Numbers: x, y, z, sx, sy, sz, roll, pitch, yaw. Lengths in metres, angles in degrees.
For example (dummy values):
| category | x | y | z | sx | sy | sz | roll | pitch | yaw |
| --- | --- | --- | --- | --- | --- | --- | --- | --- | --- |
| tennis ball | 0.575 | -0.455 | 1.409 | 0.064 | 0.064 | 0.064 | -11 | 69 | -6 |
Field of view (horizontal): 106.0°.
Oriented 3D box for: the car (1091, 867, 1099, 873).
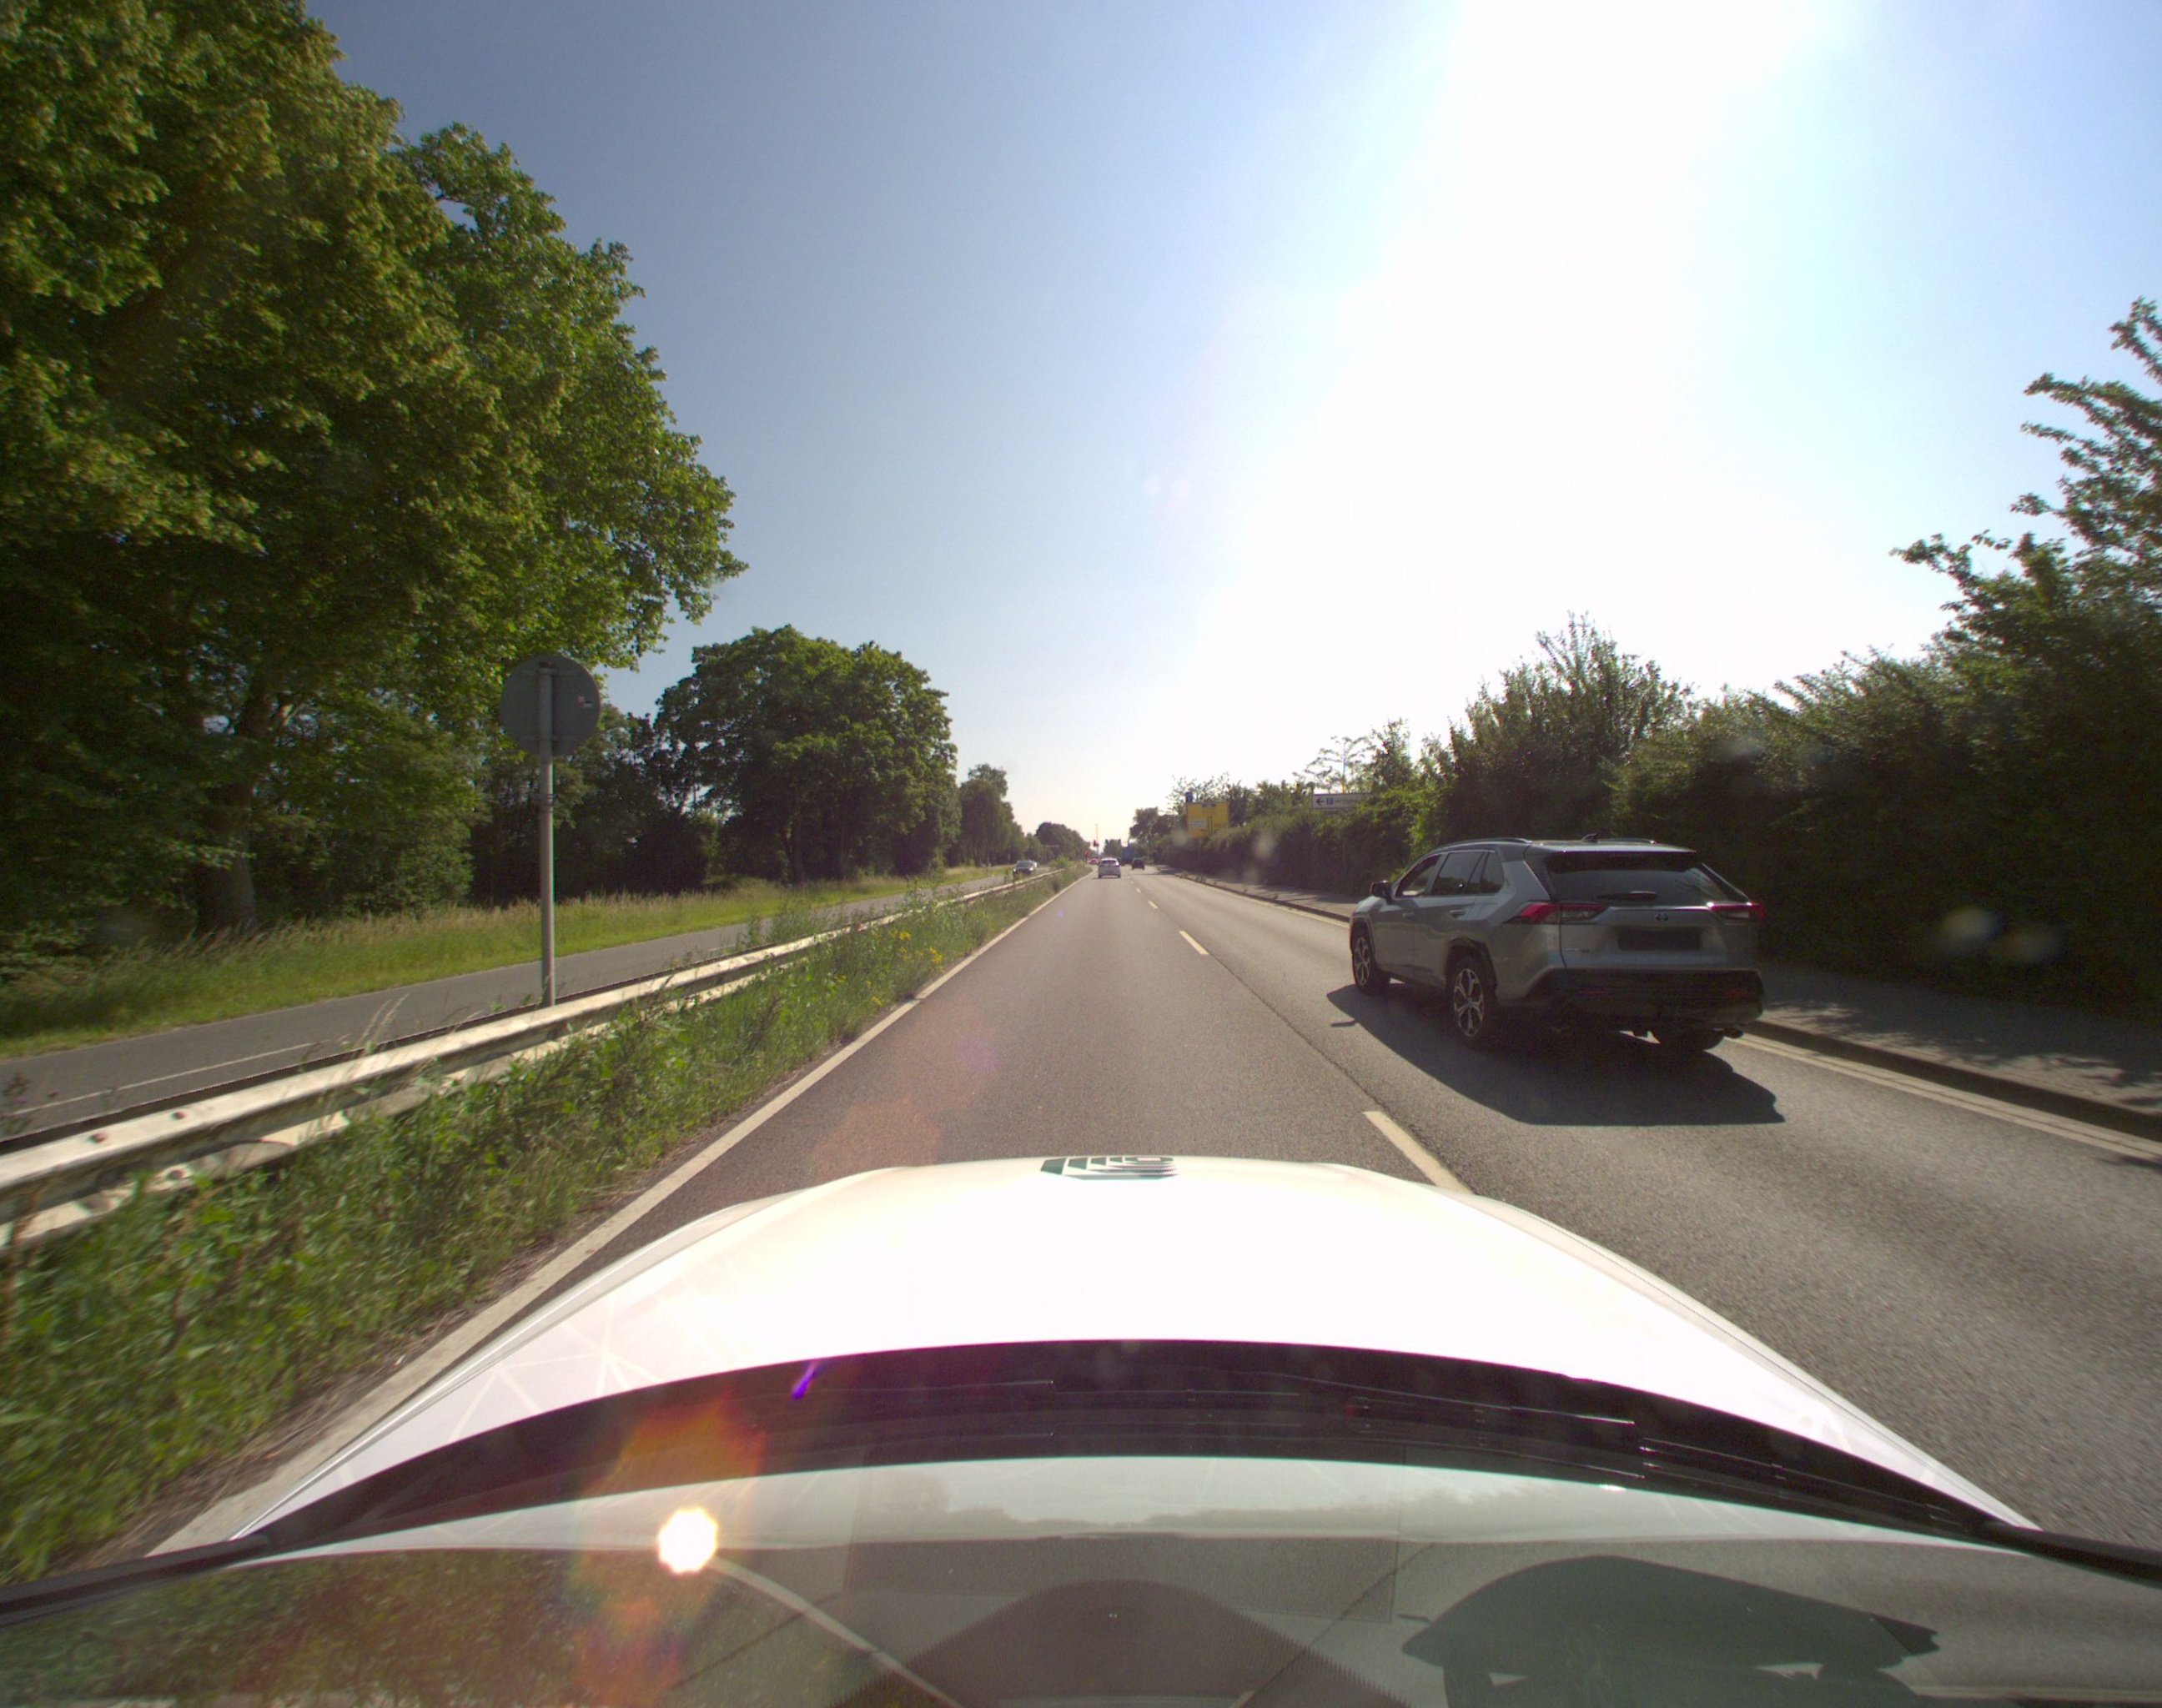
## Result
| category | x | y | z | sx | sy | sz | roll | pitch | yaw |
| --- | --- | --- | --- | --- | --- | --- | --- | --- | --- |
| car | 3.541 | 4.110 | 205.847 | 1.804 | 1.464 | 4.976 | -2 | -1 | 4 |

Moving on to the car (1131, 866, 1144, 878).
| category | x | y | z | sx | sy | sz | roll | pitch | yaw |
| --- | --- | --- | --- | --- | --- | --- | --- | --- | --- |
| car | 7.119 | 2.290 | 102.641 | 1.566 | 1.415 | 3.278 | -1 | -2 | 2 |

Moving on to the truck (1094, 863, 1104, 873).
| category | x | y | z | sx | sy | sz | roll | pitch | yaw |
| --- | --- | --- | --- | --- | --- | --- | --- | --- | --- |
| truck | 4.795 | 3.683 | 213.079 | 2.363 | 2.389 | 6.048 | -1 | 1 | 4 |

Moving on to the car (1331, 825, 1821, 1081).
| category | x | y | z | sx | sy | sz | roll | pitch | yaw |
| --- | --- | --- | --- | --- | --- | --- | --- | --- | --- |
| car | 3.975 | 0.689 | 7.711 | 1.895 | 1.680 | 4.684 | 0 | -1 | 2 |

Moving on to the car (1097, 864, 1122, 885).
| category | x | y | z | sx | sy | sz | roll | pitch | yaw |
| --- | --- | --- | --- | --- | --- | --- | --- | --- | --- |
| car | 2.186 | 1.525 | 61.939 | 1.791 | 1.553 | 4.002 | -1 | -1 | 2 |

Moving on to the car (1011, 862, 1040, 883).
| category | x | y | z | sx | sy | sz | roll | pitch | yaw |
| --- | --- | --- | --- | --- | --- | --- | --- | --- | --- |
| car | -4.517 | 1.497 | 66.949 | 1.771 | 1.530 | 4.166 | -3 | -1 | 4 |

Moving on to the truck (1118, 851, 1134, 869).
| category | x | y | z | sx | sy | sz | roll | pitch | yaw |
| --- | --- | --- | --- | --- | --- | --- | --- | --- | --- |
| truck | 9.042 | 1.264 | 162.963 | 2.881 | 3.429 | 9.172 | -2 | -1 | 2 |

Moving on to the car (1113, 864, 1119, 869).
| category | x | y | z | sx | sy | sz | roll | pitch | yaw |
| --- | --- | --- | --- | --- | --- | --- | --- | --- | --- |
| car | 10.697 | 3.966 | 249.441 | 1.804 | 1.464 | 4.464 | -3 | -2 | 4 |

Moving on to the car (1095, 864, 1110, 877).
| category | x | y | z | sx | sy | sz | roll | pitch | yaw |
| --- | --- | --- | --- | --- | --- | --- | --- | --- | --- |
| car | 2.546 | 1.889 | 95.820 | 1.566 | 1.414 | 3.278 | -3 | -1 | 2 |
